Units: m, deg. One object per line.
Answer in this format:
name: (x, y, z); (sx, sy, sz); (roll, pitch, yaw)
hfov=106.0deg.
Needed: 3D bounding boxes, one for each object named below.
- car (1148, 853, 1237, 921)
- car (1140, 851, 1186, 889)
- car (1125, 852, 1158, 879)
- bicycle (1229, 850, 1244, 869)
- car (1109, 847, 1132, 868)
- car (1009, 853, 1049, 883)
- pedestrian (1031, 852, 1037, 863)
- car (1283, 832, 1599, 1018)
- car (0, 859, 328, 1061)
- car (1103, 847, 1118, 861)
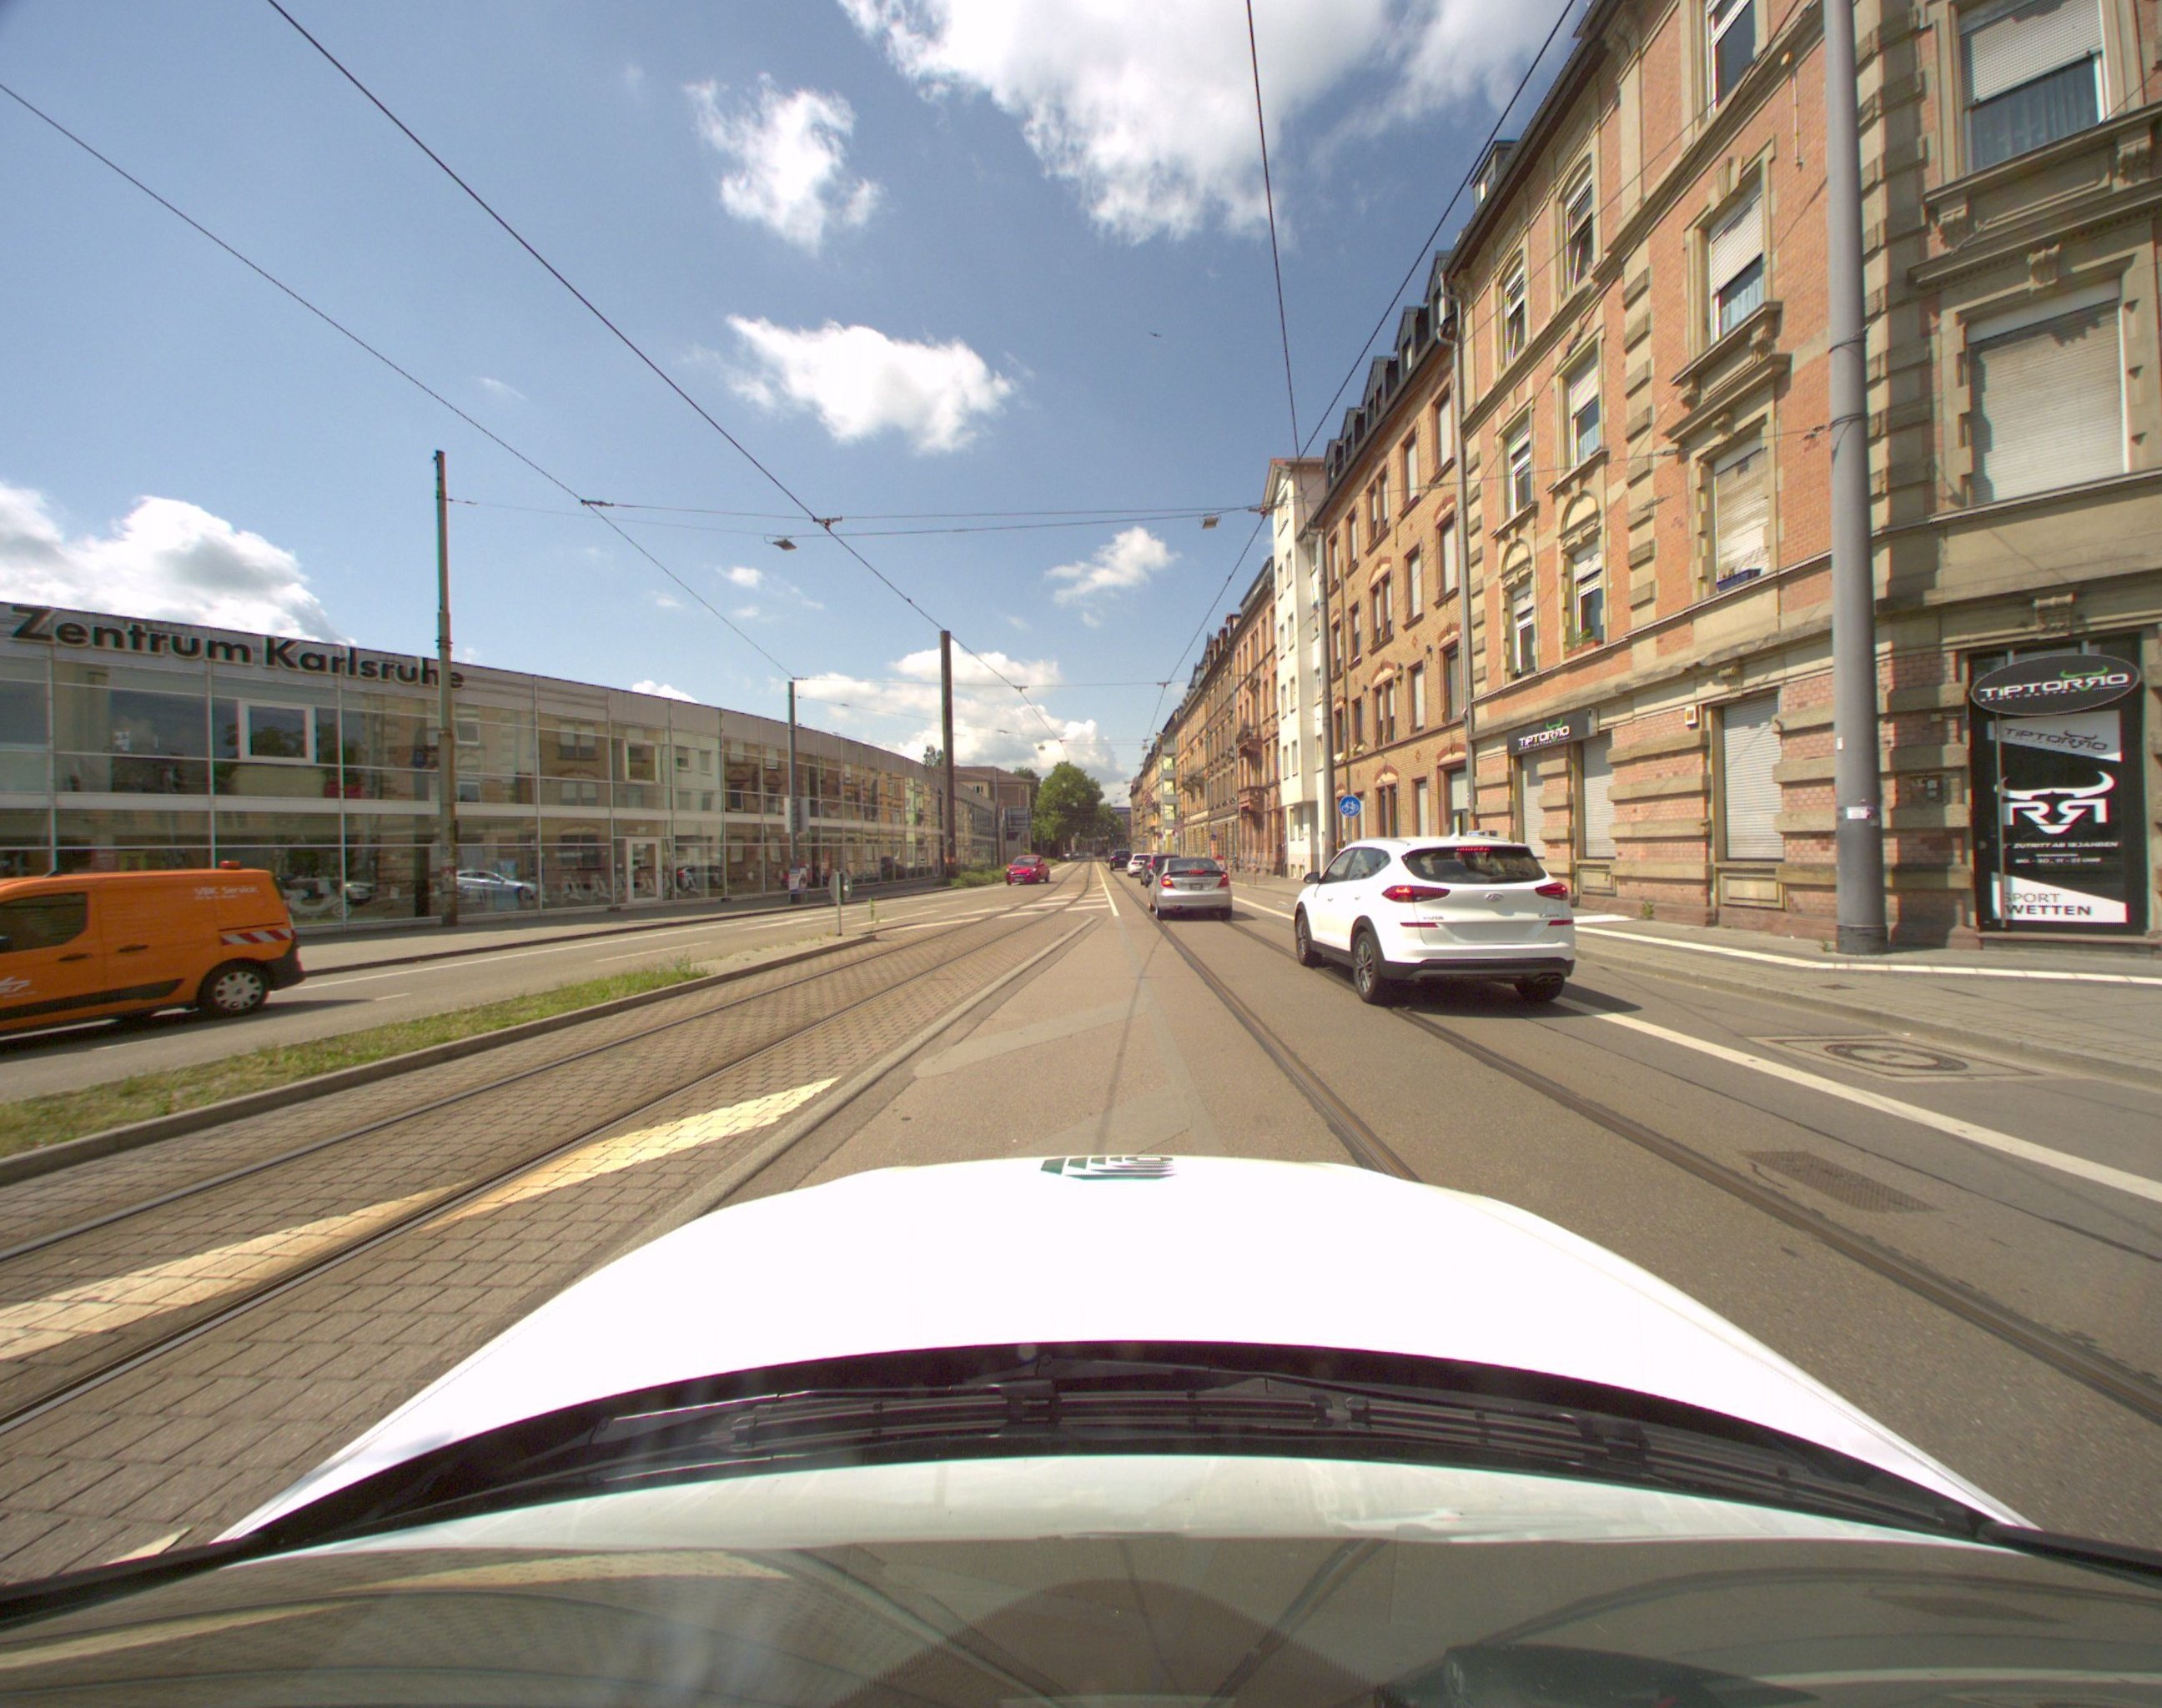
car: (2.581, 0.717, 19.668); (1.806, 1.420, 4.192); (-1, 0, 4)
car: (3.547, 0.651, 35.903); (1.807, 1.524, 4.089); (-2, 1, 3)
car: (3.718, 0.667, 50.671); (1.808, 1.524, 3.956); (-2, 1, 1)
bicycle: (10.076, 0.361, 52.916); (0.584, 1.178, 2.206); (-2, 0, 2)
car: (3.312, 0.284, 68.900); (1.808, 1.661, 4.085); (-2, 0, 1)
car: (-2.655, 0.671, 42.431); (1.695, 1.428, 3.904); (-2, 0, 2)
pedestrian: (-8.108, 0.611, 141.184); (0.877, 1.865, 1.081); (-2, 0, 1)
car: (3.694, 0.627, 9.283); (1.845, 1.634, 4.182); (0, 0, 1)
car: (-11.157, 1.074, 8.564); (1.898, 1.865, 4.381); (-3, 0, 11)
car: (4.275, -0.015, 118.039); (1.987, 1.859, 3.999); (-1, 0, -1)
